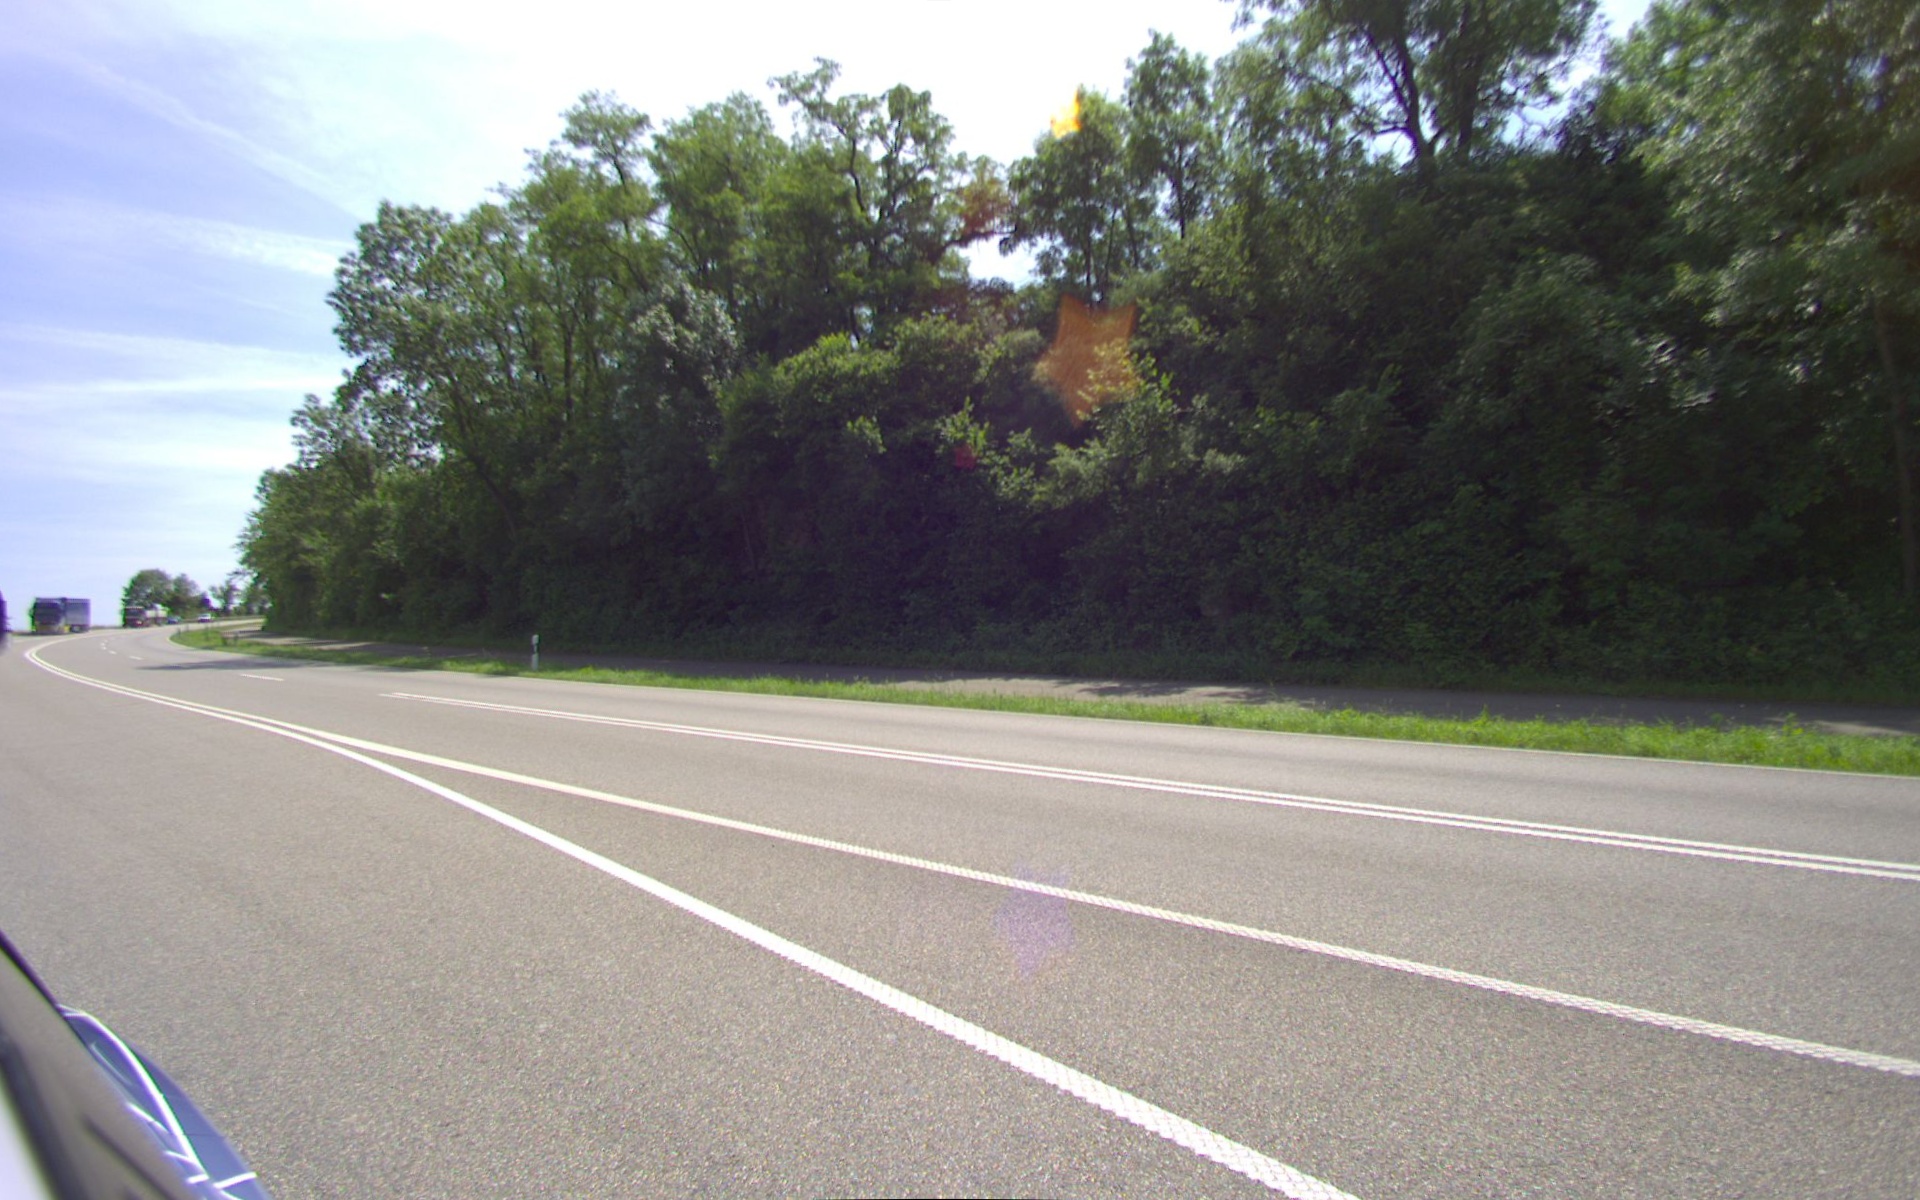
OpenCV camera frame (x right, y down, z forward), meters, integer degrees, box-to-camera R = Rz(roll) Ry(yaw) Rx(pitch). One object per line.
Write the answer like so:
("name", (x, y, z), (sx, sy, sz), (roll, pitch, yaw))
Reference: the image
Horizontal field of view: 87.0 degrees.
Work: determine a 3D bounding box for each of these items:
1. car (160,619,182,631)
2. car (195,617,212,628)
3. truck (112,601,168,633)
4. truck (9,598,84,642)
("car", (-132.401, 4.201, 169.868), (1.886, 2.029, 4.189), (0, 0, -25))
("car", (-140.345, 4.117, 187.784), (1.826, 2.029, 3.901), (0, 0, -25))
("truck", (-123.777, 2.590, 152.970), (3.921, 4.493, 14.385), (-1, -1, -28))
("truck", (-100.604, 2.238, 111.724), (4.328, 4.493, 14.748), (-1, -1, -35))
